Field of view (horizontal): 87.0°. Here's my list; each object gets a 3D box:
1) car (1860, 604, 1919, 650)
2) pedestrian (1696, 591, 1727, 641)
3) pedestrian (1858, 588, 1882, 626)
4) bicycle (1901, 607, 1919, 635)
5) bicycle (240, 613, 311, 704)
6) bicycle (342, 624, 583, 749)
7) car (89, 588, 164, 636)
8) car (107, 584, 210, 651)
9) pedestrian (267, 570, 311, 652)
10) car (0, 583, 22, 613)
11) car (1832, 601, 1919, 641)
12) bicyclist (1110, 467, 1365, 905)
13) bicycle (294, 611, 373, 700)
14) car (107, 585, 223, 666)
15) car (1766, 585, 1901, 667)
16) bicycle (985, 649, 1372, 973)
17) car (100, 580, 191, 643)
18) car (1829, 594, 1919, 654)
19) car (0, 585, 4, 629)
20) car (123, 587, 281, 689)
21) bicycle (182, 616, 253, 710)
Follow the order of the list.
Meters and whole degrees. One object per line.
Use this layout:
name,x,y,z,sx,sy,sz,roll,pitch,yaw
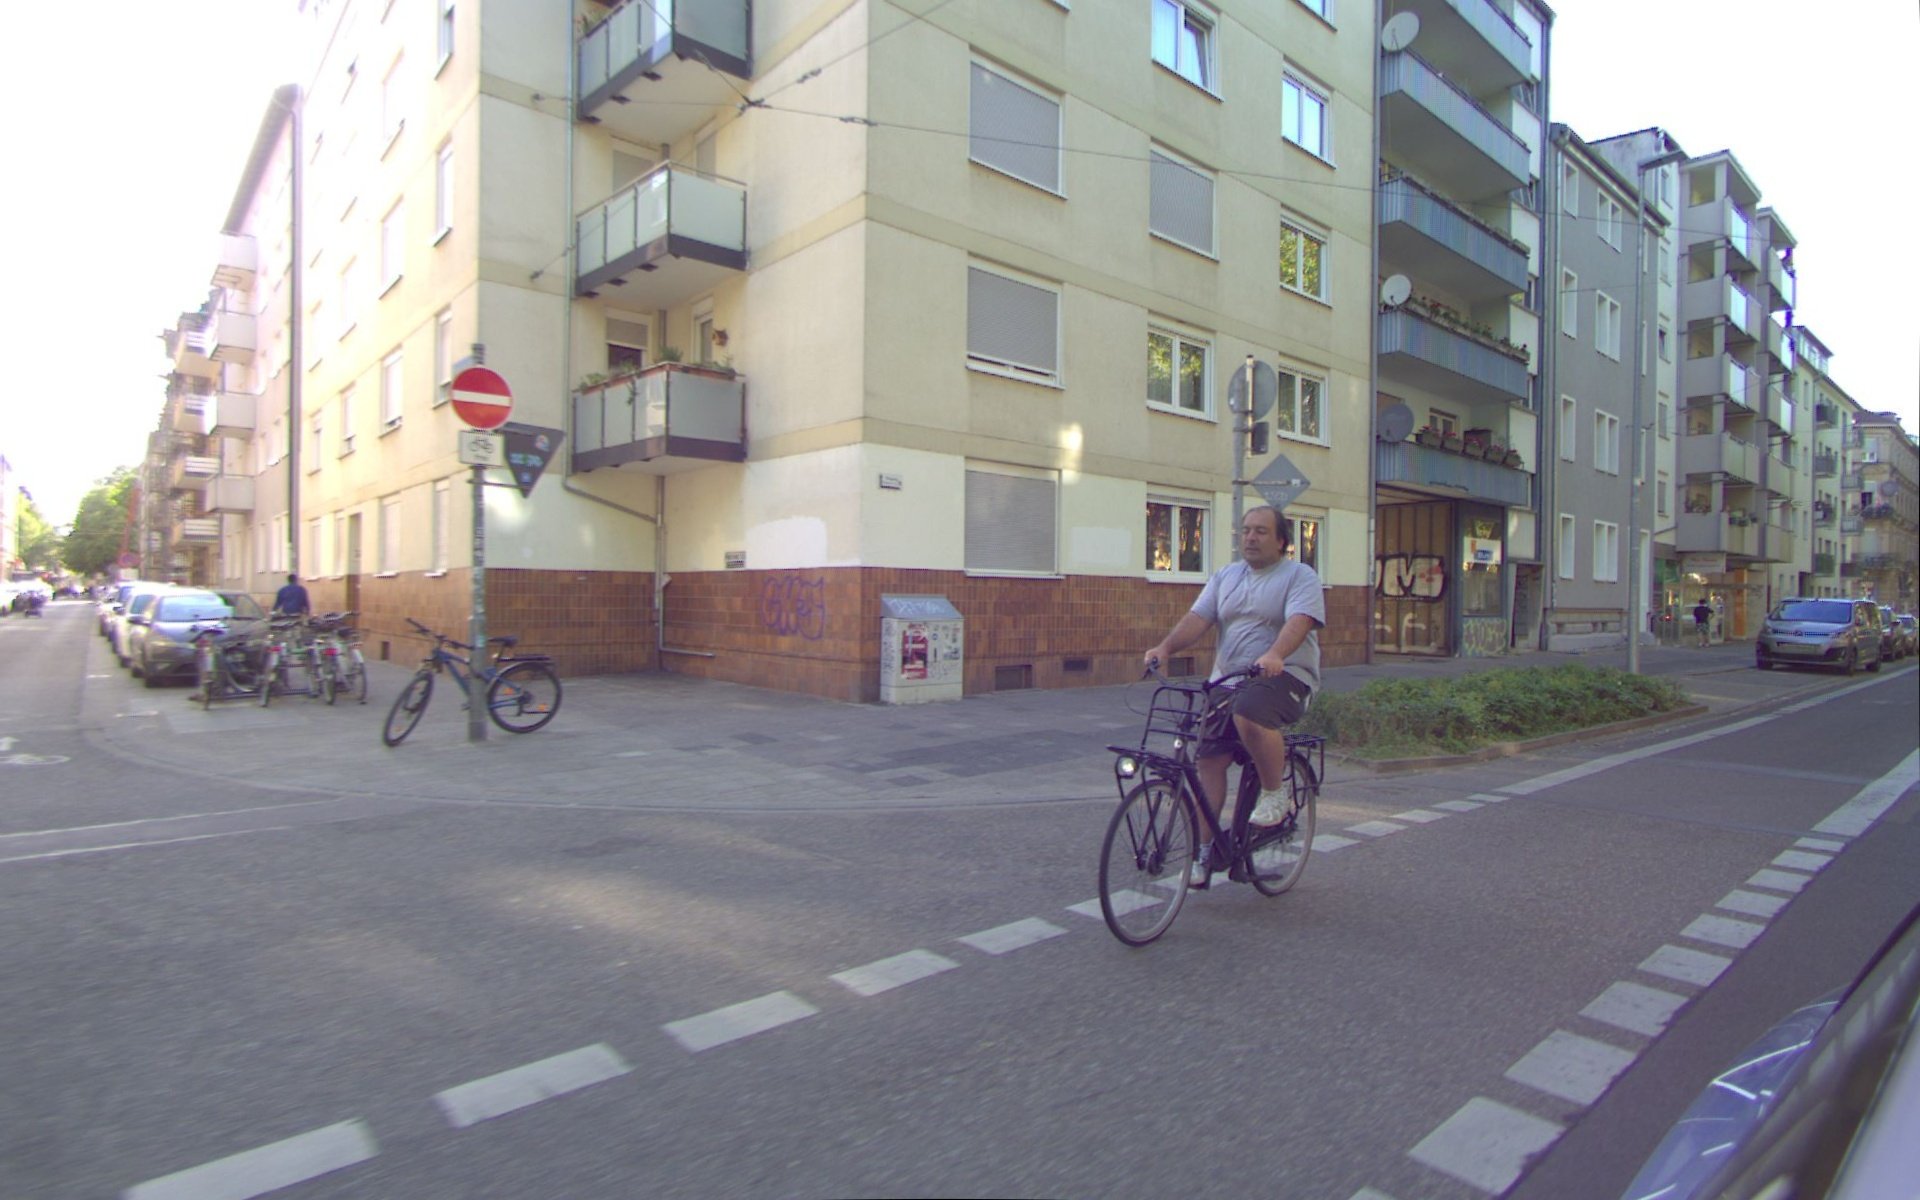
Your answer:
car,33.818,0.913,36.224,4.432,1.545,1.728,0,0,-40
pedestrian,26.547,0.553,35.754,0.707,1.742,0.757,1,0,-40
pedestrian,44.676,0.328,49.693,1.062,1.845,0.711,0,1,-39
bicycle,42.934,0.957,44.762,0.449,1.206,1.827,1,2,-40
bicycle,-8.756,0.704,12.910,0.480,1.028,1.965,1,0,-42
bicycle,-4.765,0.775,9.800,0.803,1.028,1.937,1,1,43
car,-27.129,0.337,32.892,1.703,1.463,3.923,0,0,-42
car,-19.248,0.363,24.243,1.703,1.479,3.923,1,0,-42
pedestrian,-15.147,0.246,22.829,0.697,1.810,0.806,1,0,-42
car,-58.420,-0.142,61.544,1.878,1.755,3.993,1,0,-42
car,37.478,0.839,39.876,4.606,1.455,1.838,2,1,39
bicyclist,1.292,0.345,4.717,0.899,1.781,0.788,0,-1,-41
bicycle,-8.244,0.690,13.284,0.480,1.028,1.963,1,0,-44
car,-16.078,0.452,20.403,1.568,1.479,3.923,1,0,-42
car,22.478,0.602,25.986,4.836,1.914,1.862,0,0,-40
bicycle,1.076,0.820,4.651,1.956,1.106,0.702,0,-2,-42
car,-22.081,0.276,27.379,1.703,1.583,3.923,1,0,-42
car,28.664,0.698,31.634,4.209,1.726,1.769,0,0,-42
car,-31.551,0.242,31.800,1.682,1.480,4.443,0,0,-37
car,-12.156,0.518,16.145,1.703,1.432,3.622,0,0,-42
bicycle,-9.287,0.740,12.633,0.480,1.028,1.964,1,0,-43
